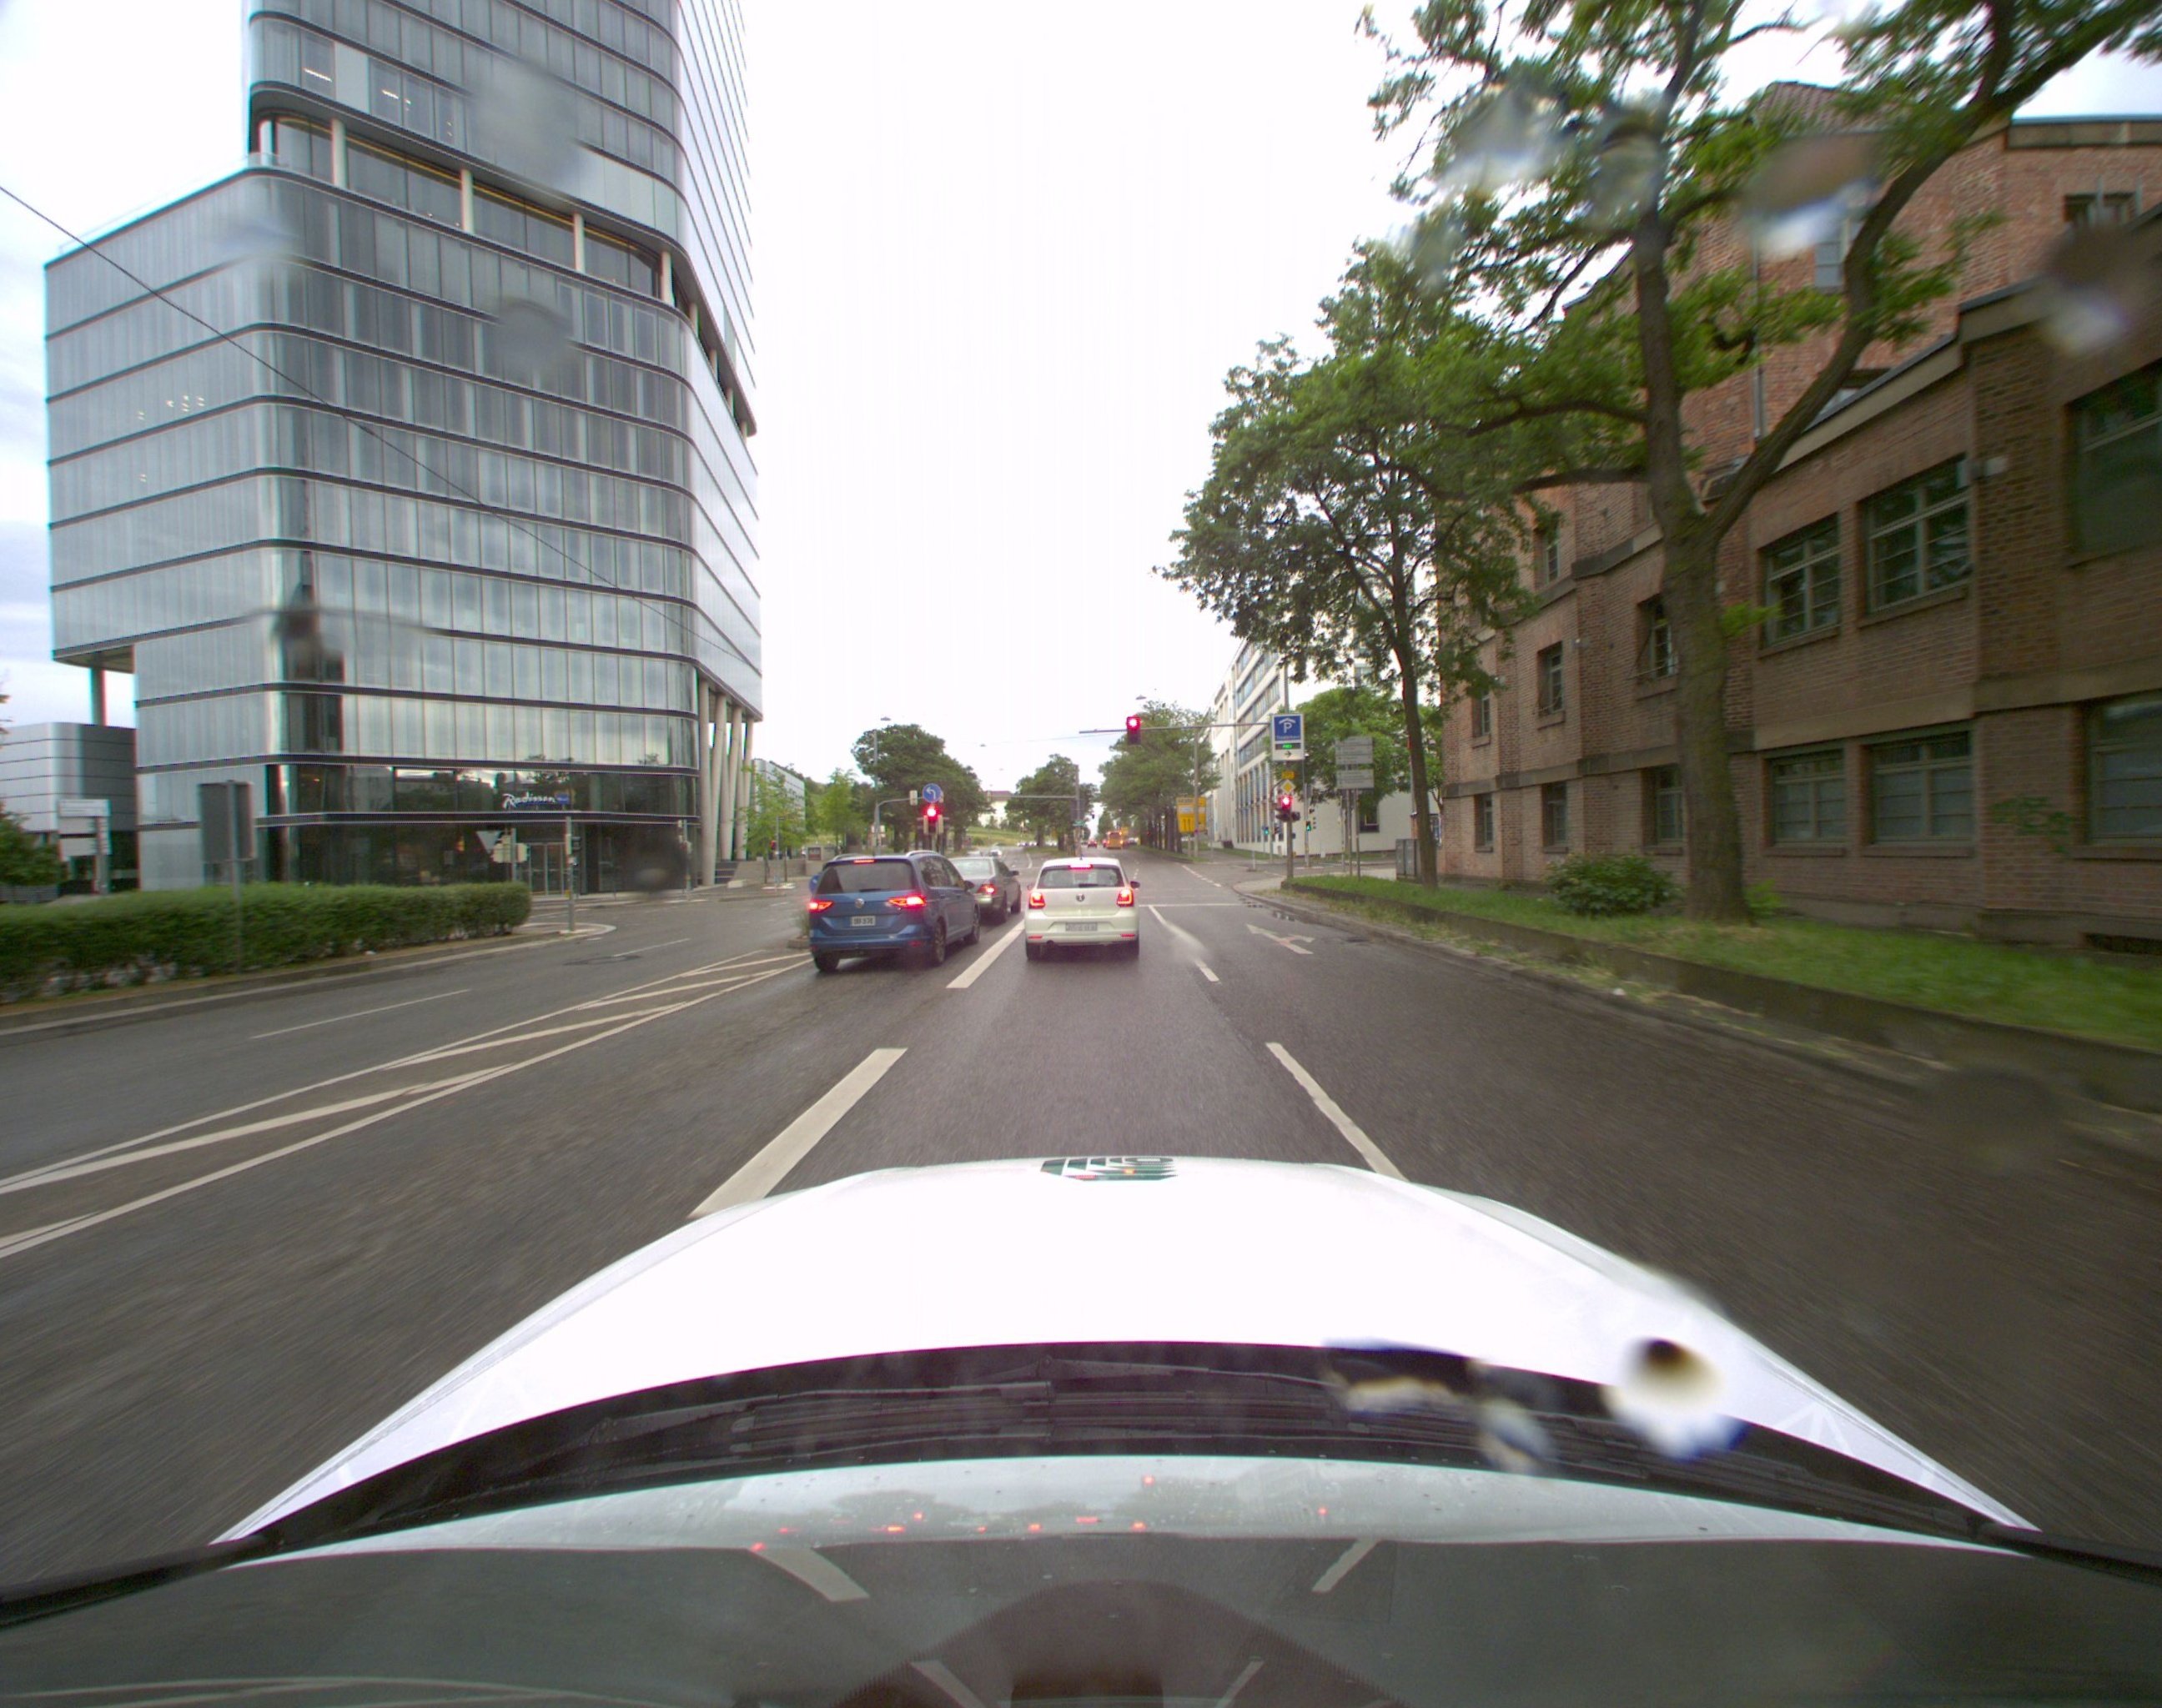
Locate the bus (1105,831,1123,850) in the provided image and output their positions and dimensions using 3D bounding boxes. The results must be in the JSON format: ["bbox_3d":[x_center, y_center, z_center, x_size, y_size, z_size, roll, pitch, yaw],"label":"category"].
[{"bbox_3d":[5.918,-2.553,147.484,2.819,3.266,10.000,-1,1,0],"label":"bus"}]

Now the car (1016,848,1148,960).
[{"bbox_3d":[0.057,0.673,13.171,1.788,1.502,4.001,-1,0,1],"label":"car"}]

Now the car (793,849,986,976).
[{"bbox_3d":[-2.762,0.758,12.784,1.765,1.596,4.201,-2,0,3],"label":"car"}]

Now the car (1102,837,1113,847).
[{"bbox_3d":[5.287,-2.336,160.998,1.987,2.013,3.999,-2,0,0],"label":"car"}]

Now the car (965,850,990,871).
[{"bbox_3d":[-8.612,0.508,67.890,1.746,1.520,3.813,-3,1,-3],"label":"car"}]

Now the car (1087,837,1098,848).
[{"bbox_3d":[2.192,-2.192,160.048,1.987,2.013,3.999,-2,0,0],"label":"car"}]

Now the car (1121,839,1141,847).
[{"bbox_3d":[9.863,-2.207,159.738,1.679,1.515,3.850,-2,0,45],"label":"car"}]

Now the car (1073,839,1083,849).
[{"bbox_3d":[-0.548,-1.964,161.716,1.789,1.741,3.998,-3,0,-1],"label":"car"}]

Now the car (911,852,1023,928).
[{"bbox_3d":[-2.544,0.759,19.201,1.839,1.510,4.051,-3,0,2],"label":"car"}]

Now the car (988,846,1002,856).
[{"bbox_3d":[-13.022,-0.501,123.607,1.810,1.411,4.651,-3,1,-3],"label":"car"}]
